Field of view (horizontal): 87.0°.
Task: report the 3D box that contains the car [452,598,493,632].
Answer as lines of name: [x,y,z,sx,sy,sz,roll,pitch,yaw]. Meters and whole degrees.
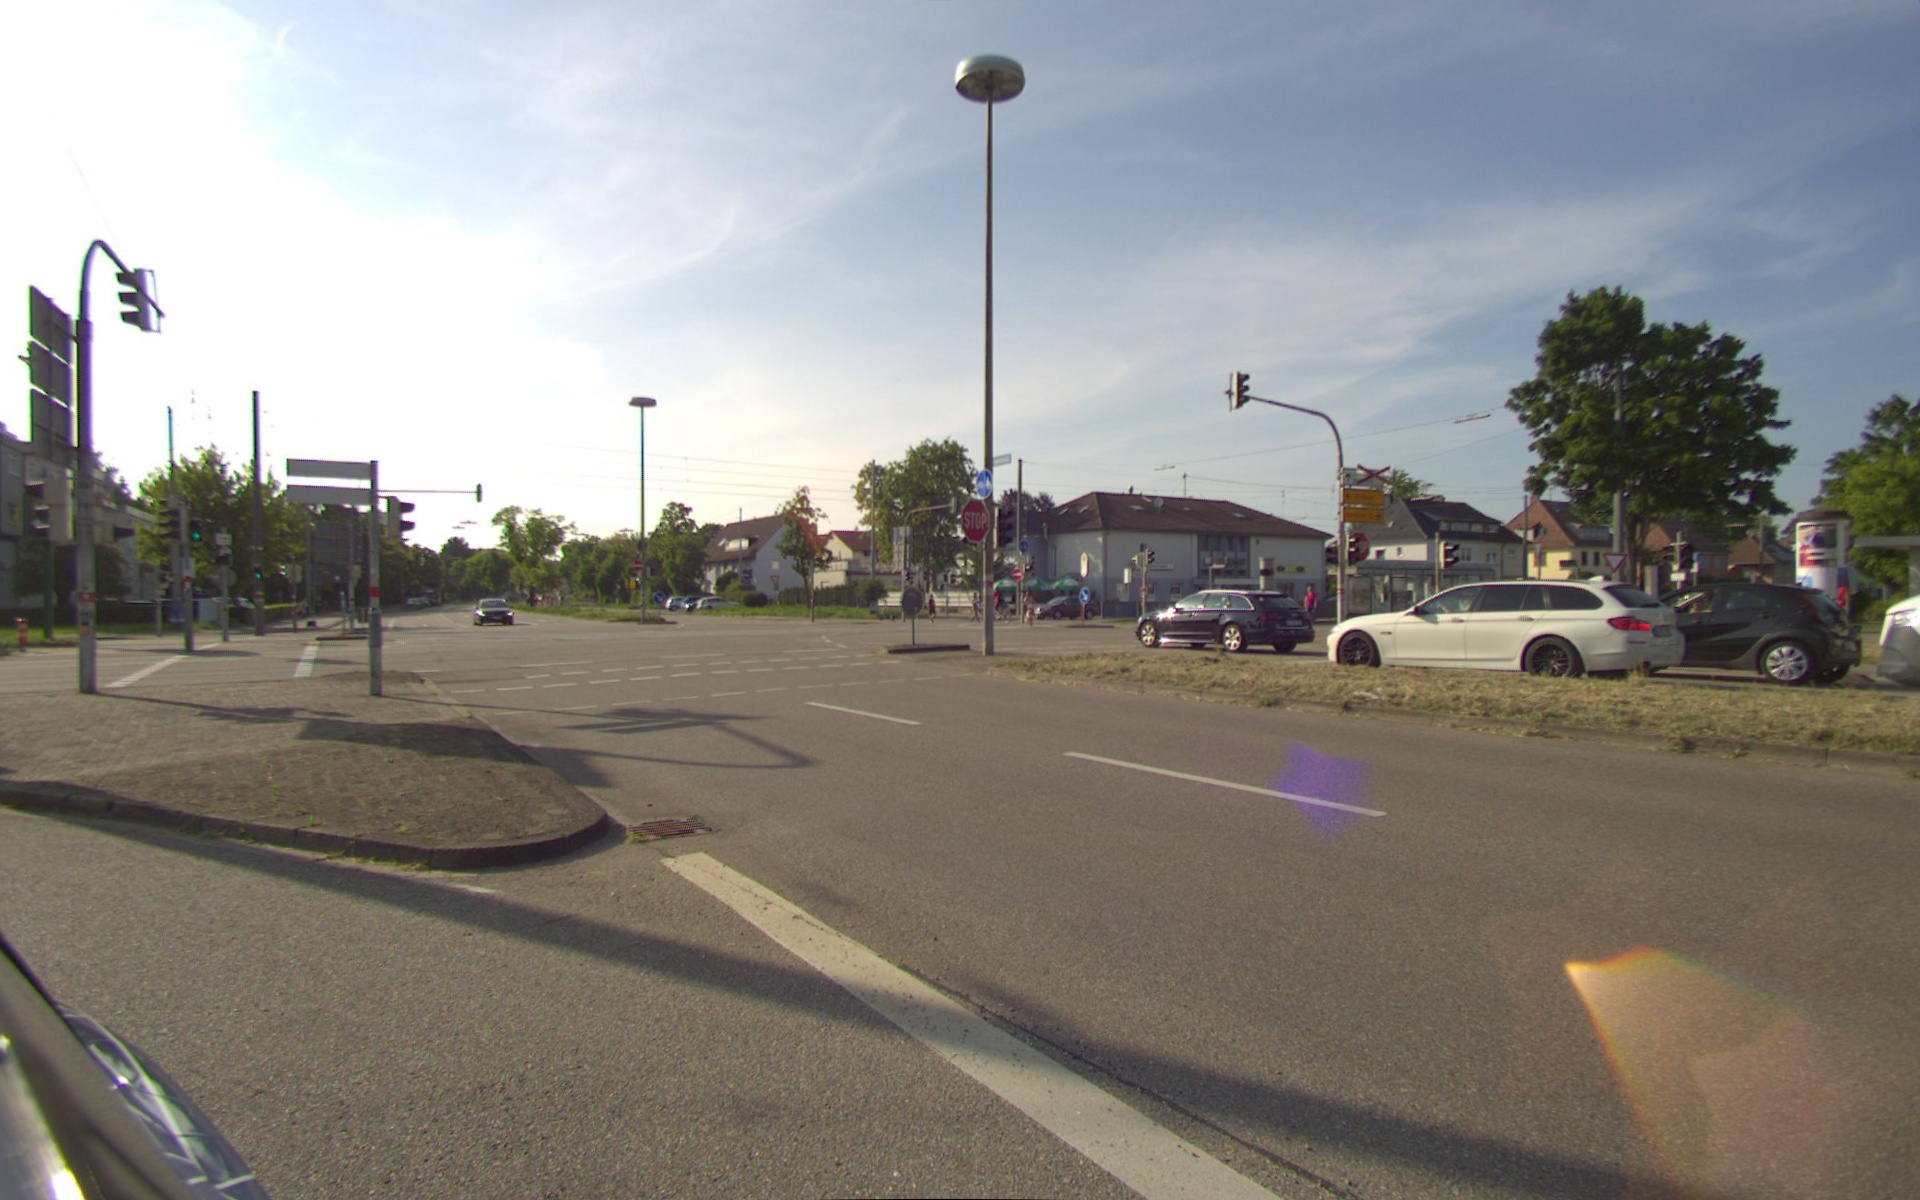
car: [-26.959,0.779,55.896,1.494,1.806,4.011,0,0,-34]

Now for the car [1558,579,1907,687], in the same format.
car: [11.862,0.451,15.813,1.687,1.464,4.010,0,0,-34]

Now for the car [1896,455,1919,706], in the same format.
car: [12.440,-0.218,8.651,1.967,2.603,6.244,0,0,-35]

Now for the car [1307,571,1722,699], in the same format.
car: [7.954,0.439,15.063,1.810,1.575,5.122,0,0,-38]
